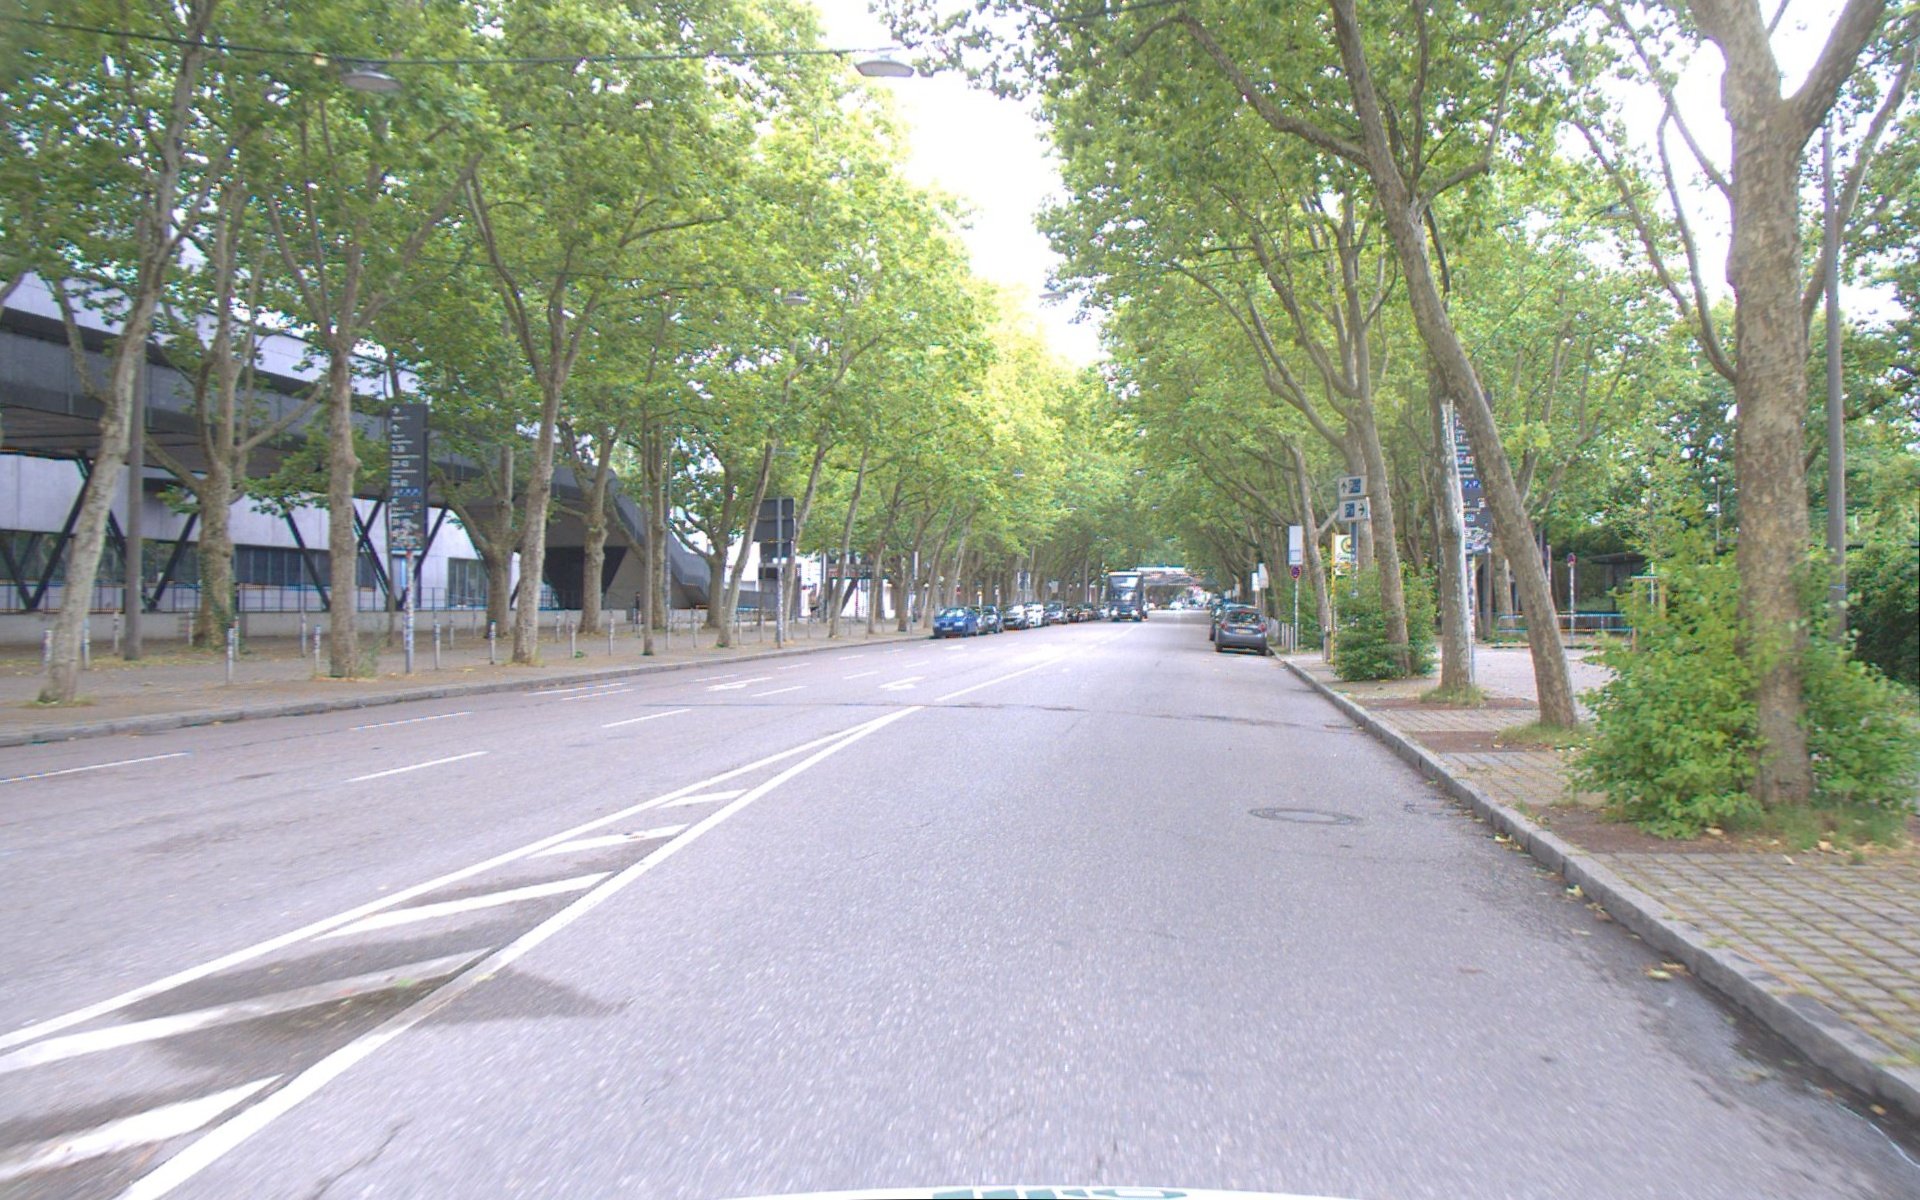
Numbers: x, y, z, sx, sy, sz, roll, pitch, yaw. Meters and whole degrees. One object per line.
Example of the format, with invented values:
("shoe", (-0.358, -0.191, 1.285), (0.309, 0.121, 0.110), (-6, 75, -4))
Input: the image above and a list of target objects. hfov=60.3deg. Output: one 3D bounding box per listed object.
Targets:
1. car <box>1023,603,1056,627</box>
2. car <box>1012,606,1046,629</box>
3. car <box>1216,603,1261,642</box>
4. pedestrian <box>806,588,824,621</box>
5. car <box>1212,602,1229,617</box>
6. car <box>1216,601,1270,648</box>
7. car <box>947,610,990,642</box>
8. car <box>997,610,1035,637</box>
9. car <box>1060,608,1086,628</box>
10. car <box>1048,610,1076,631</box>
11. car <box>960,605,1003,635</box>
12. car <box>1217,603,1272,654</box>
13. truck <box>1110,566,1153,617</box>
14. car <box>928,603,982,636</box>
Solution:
("car", (5.239, 0.979, 108.517), (1.854, 1.463, 4.002), (-1, -2, 7))
("car", (4.314, 1.108, 102.871), (1.695, 1.355, 4.003), (-1, -2, 8))
("car", (12.013, 0.973, 71.604), (1.719, 1.515, 4.420), (4, 0, 8))
("pedestrian", (-8.183, 0.244, 93.456), (0.760, 1.867, 0.871), (1, 0, -26))
("car", (29.165, 1.095, 185.187), (1.719, 1.561, 3.932), (3, 0, 8))
("car", (10.597, 0.897, 62.207), (1.683, 1.594, 4.097), (4, 0, 6))
("car", (0.433, 1.285, 81.250), (1.728, 1.443, 3.763), (-2, -2, 5))
("car", (3.252, 1.376, 95.959), (1.728, 1.443, 3.764), (-3, -2, 8))
("car", (9.249, 1.468, 134.795), (1.854, 1.463, 4.002), (-1, -2, 7))
("car", (7.589, 1.513, 122.685), (1.854, 1.463, 4.002), (-1, -2, 7))
("car", (1.159, 1.078, 86.065), (1.728, 1.443, 3.764), (-3, -2, 8))
("car", (9.729, 0.932, 56.846), (1.663, 1.545, 4.457), (4, 1, 8))
("truck", (13.986, -0.627, 134.249), (2.585, 3.970, 9.548), (-1, -1, 11))
("car", (-0.194, 0.909, 76.389), (1.659, 1.443, 3.764), (-3, -2, 13))
